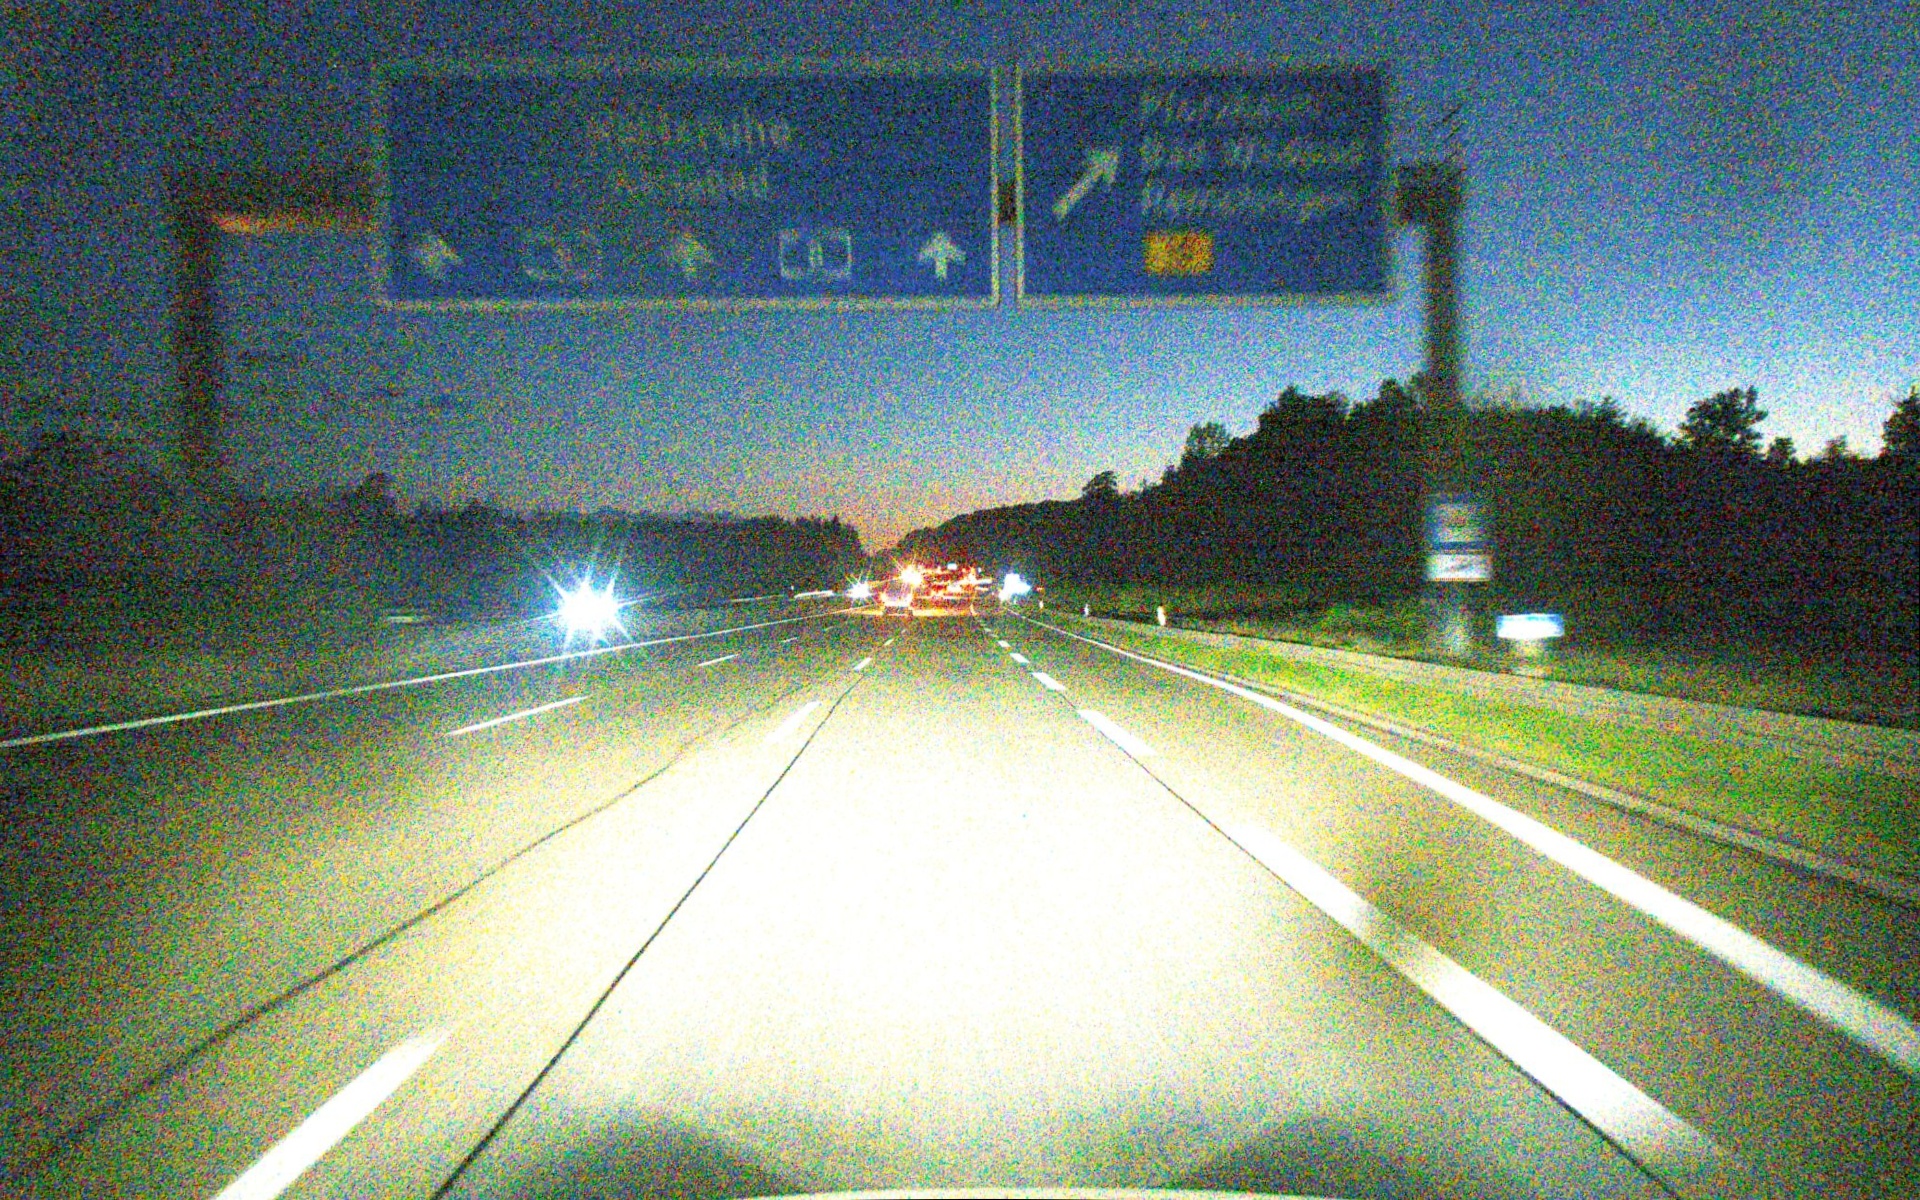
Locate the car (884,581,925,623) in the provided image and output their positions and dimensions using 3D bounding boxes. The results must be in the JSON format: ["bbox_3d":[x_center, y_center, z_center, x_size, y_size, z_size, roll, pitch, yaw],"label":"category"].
[{"bbox_3d":[-3.858,0.206,114.106,2.731,2.781,6.295,0,-1,-3],"label":"car"}]

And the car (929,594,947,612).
[{"bbox_3d":[-3.401,0.504,258.693,2.730,2.781,6.297,0,-1,-1],"label":"car"}]

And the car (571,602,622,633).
[{"bbox_3d":[-21.540,1.010,98.206,1.953,1.776,5.070,1,0,-1],"label":"car"}]
